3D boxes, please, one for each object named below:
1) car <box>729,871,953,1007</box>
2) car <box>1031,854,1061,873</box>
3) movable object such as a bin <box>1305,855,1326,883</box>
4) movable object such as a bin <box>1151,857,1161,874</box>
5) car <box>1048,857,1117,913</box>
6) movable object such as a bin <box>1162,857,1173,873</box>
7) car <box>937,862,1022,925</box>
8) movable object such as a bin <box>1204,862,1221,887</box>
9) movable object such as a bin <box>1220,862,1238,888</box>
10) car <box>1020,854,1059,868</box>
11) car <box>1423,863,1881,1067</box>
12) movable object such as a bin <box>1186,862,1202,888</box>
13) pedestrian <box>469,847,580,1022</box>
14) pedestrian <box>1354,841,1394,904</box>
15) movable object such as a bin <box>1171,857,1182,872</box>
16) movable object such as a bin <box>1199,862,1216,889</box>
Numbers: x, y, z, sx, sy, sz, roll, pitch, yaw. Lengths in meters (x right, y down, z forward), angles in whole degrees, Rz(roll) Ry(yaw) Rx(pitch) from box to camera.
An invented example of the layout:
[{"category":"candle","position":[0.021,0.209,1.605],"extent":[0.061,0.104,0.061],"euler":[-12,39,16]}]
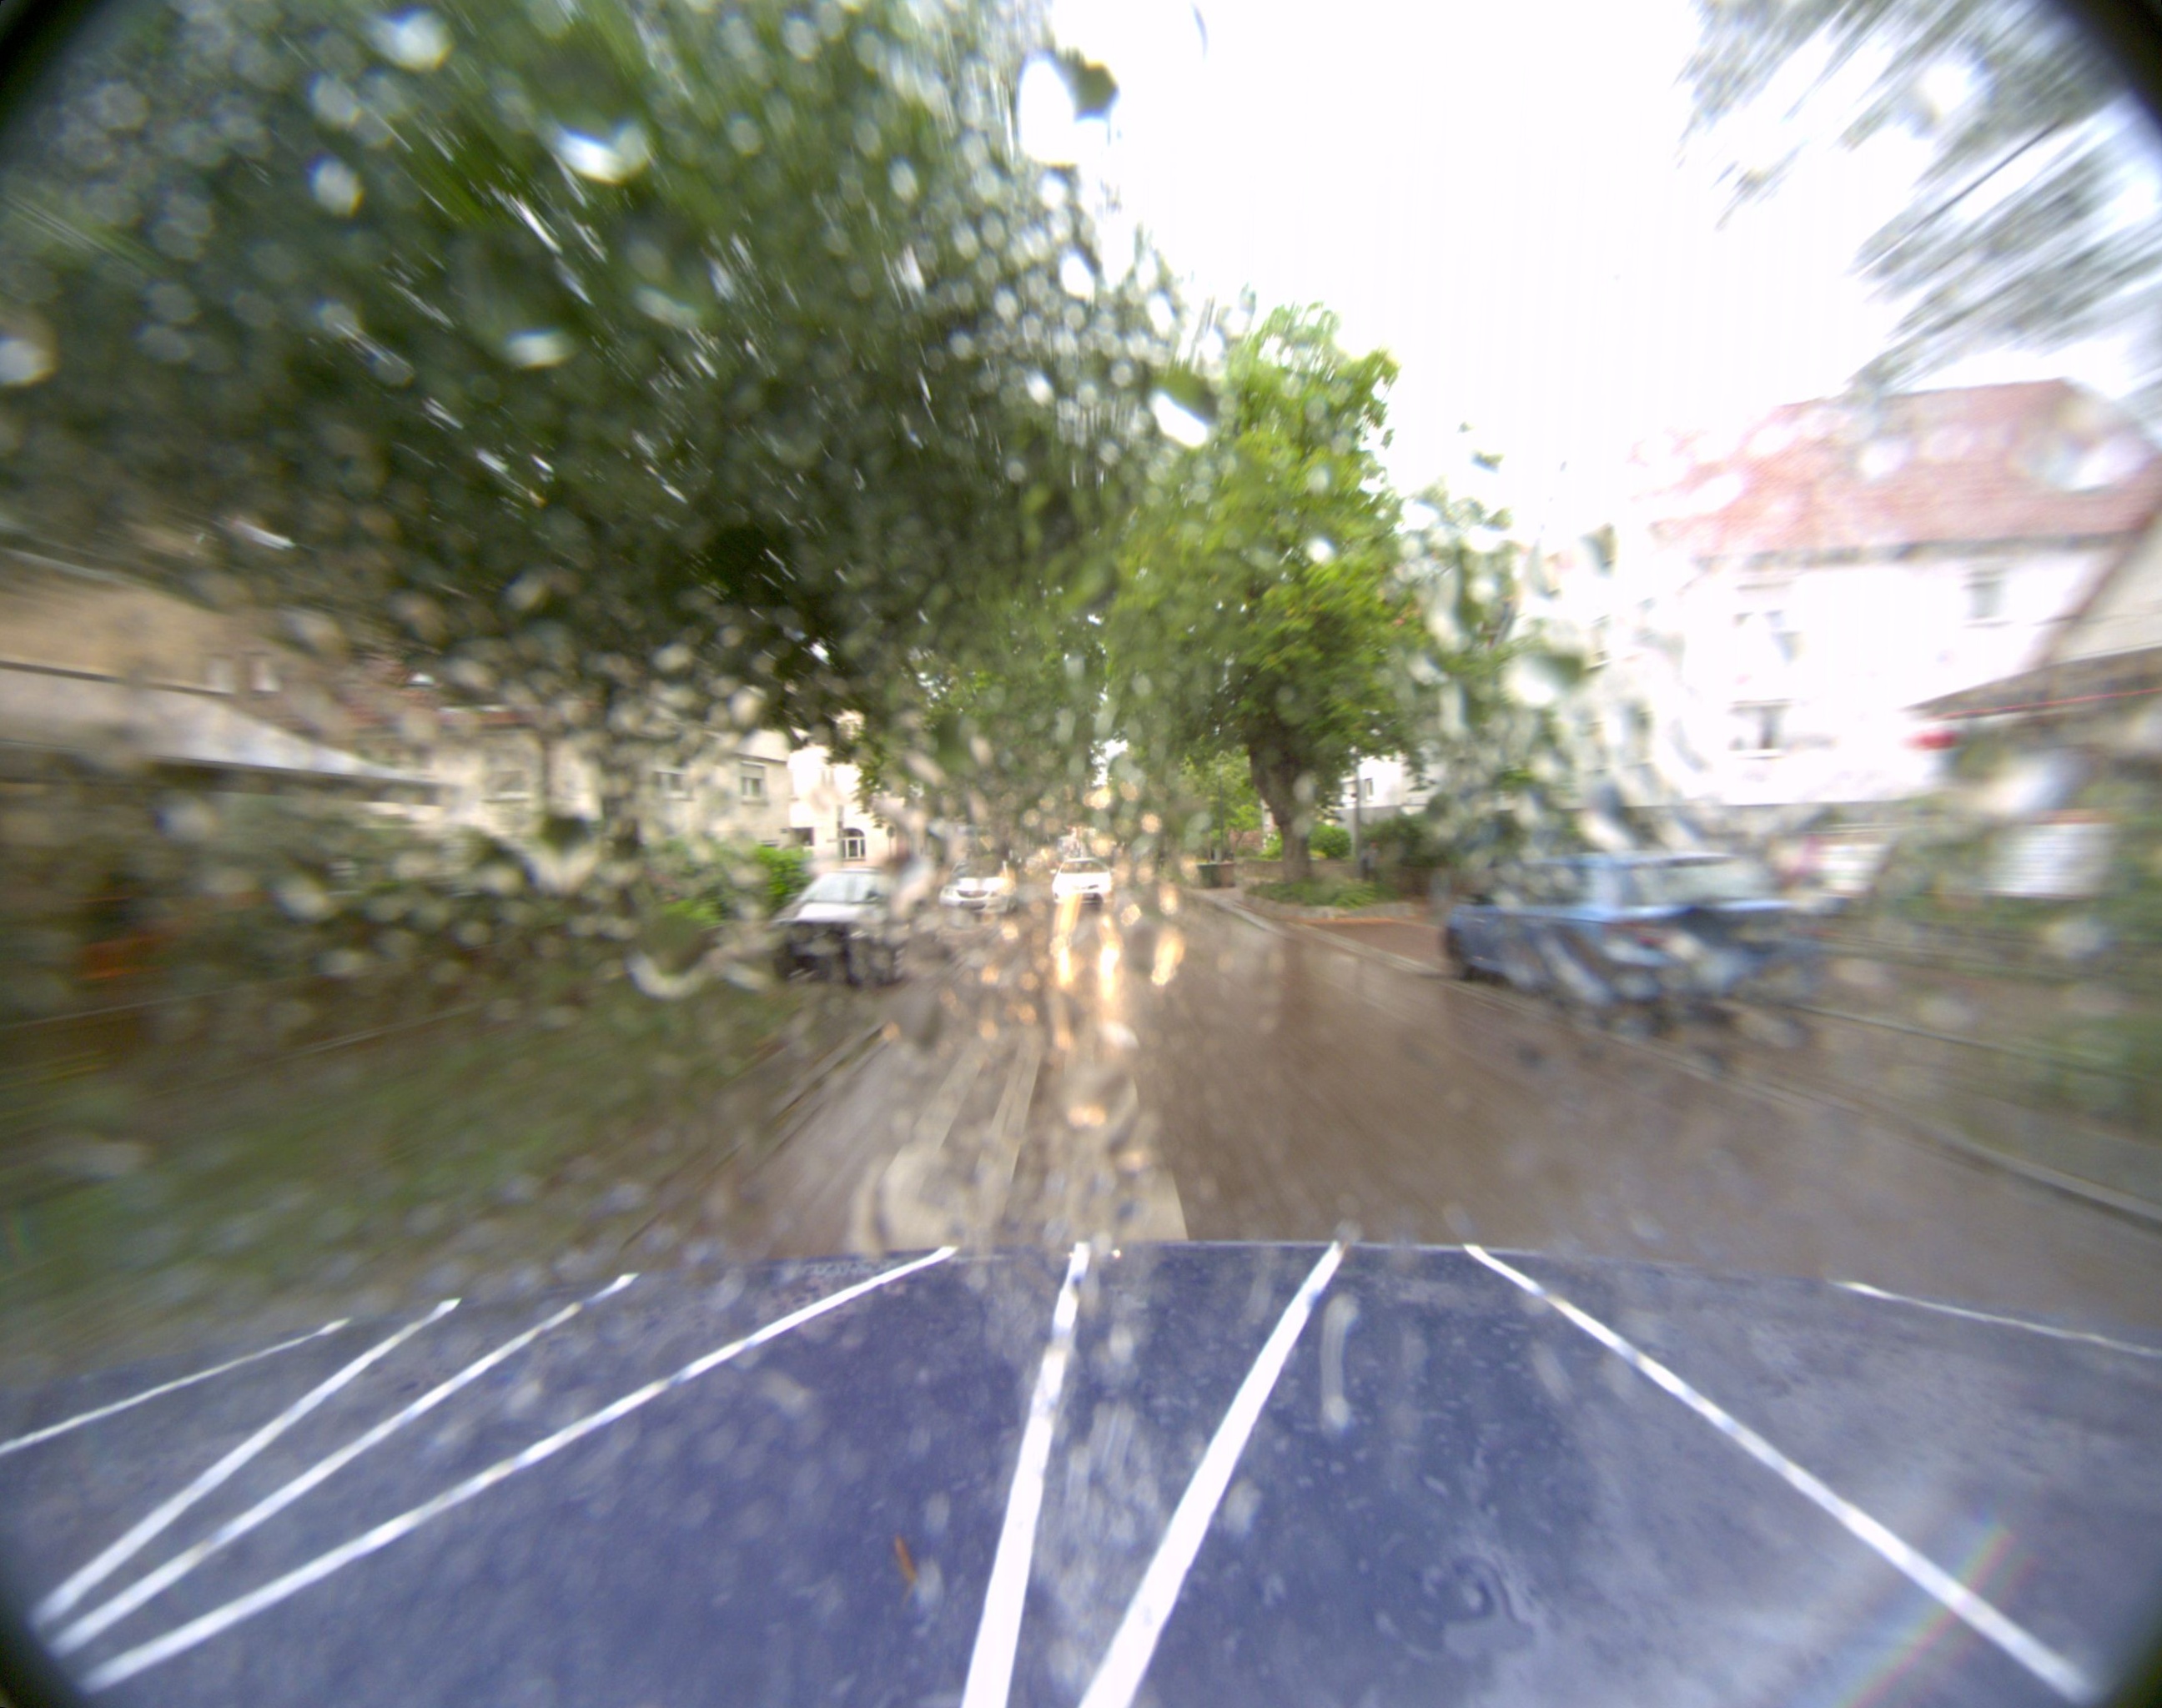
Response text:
[{"category":"car","position":[-3.039,1.003,10.494],"extent":[1.813,1.402,3.783],"euler":[-2,0,1]},{"category":"car","position":[-2.723,0.723,59.637],"extent":[1.896,1.460,4.824],"euler":[0,0,3]},{"category":"movable object such as a bin","position":[9.841,0.638,31.896],"extent":[0.664,1.126,0.659],"euler":[-2,1,3]},{"category":"movable object such as a bin","position":[5.220,0.799,52.739],"extent":[0.585,1.071,0.570],"euler":[-4,1,-1]},{"category":"car","position":[0.137,0.865,22.749],"extent":[1.828,1.451,3.876],"euler":[-2,0,3]},{"category":"movable object such as a bin","position":[5.985,0.763,52.761],"extent":[0.618,1.053,0.569],"euler":[-4,1,-1]},{"category":"car","position":[-2.559,0.963,19.882],"extent":[1.685,1.391,3.794],"euler":[-1,0,0]},{"category":"movable object such as a bin","position":[5.628,0.870,32.490],"extent":[0.665,1.068,0.596],"euler":[-1,2,5]},{"category":"movable object such as a bin","position":[6.159,0.874,31.669],"extent":[0.665,1.068,0.596],"euler":[-1,2,5]},{"category":"car","position":[-4.770,0.820,87.528],"extent":[4.270,1.451,1.829],"euler":[-2,0,-1]},{"category":"car","position":[5.072,0.849,7.515],"extent":[1.753,1.388,3.796],"euler":[-2,0,2]},{"category":"movable object such as a bin","position":[4.833,0.895,32.546],"extent":[0.665,1.068,0.596],"euler":[-1,2,5]},{"category":"pedestrian","position":[-5.734,0.797,7.871],"extent":[0.769,1.721,0.492],"euler":[-2,1,-19]},{"category":"pedestrian","position":[7.585,0.472,19.678],"extent":[0.651,1.585,0.932],"euler":[-2,1,1]},{"category":"movable object such as a bin","position":[6.637,0.723,52.773],"extent":[0.618,1.053,0.561],"euler":[-4,1,-1]},{"category":"movable object such as a bin","position":[5.299,0.898,31.835],"extent":[0.665,1.061,0.596],"euler":[-1,2,5]}]
